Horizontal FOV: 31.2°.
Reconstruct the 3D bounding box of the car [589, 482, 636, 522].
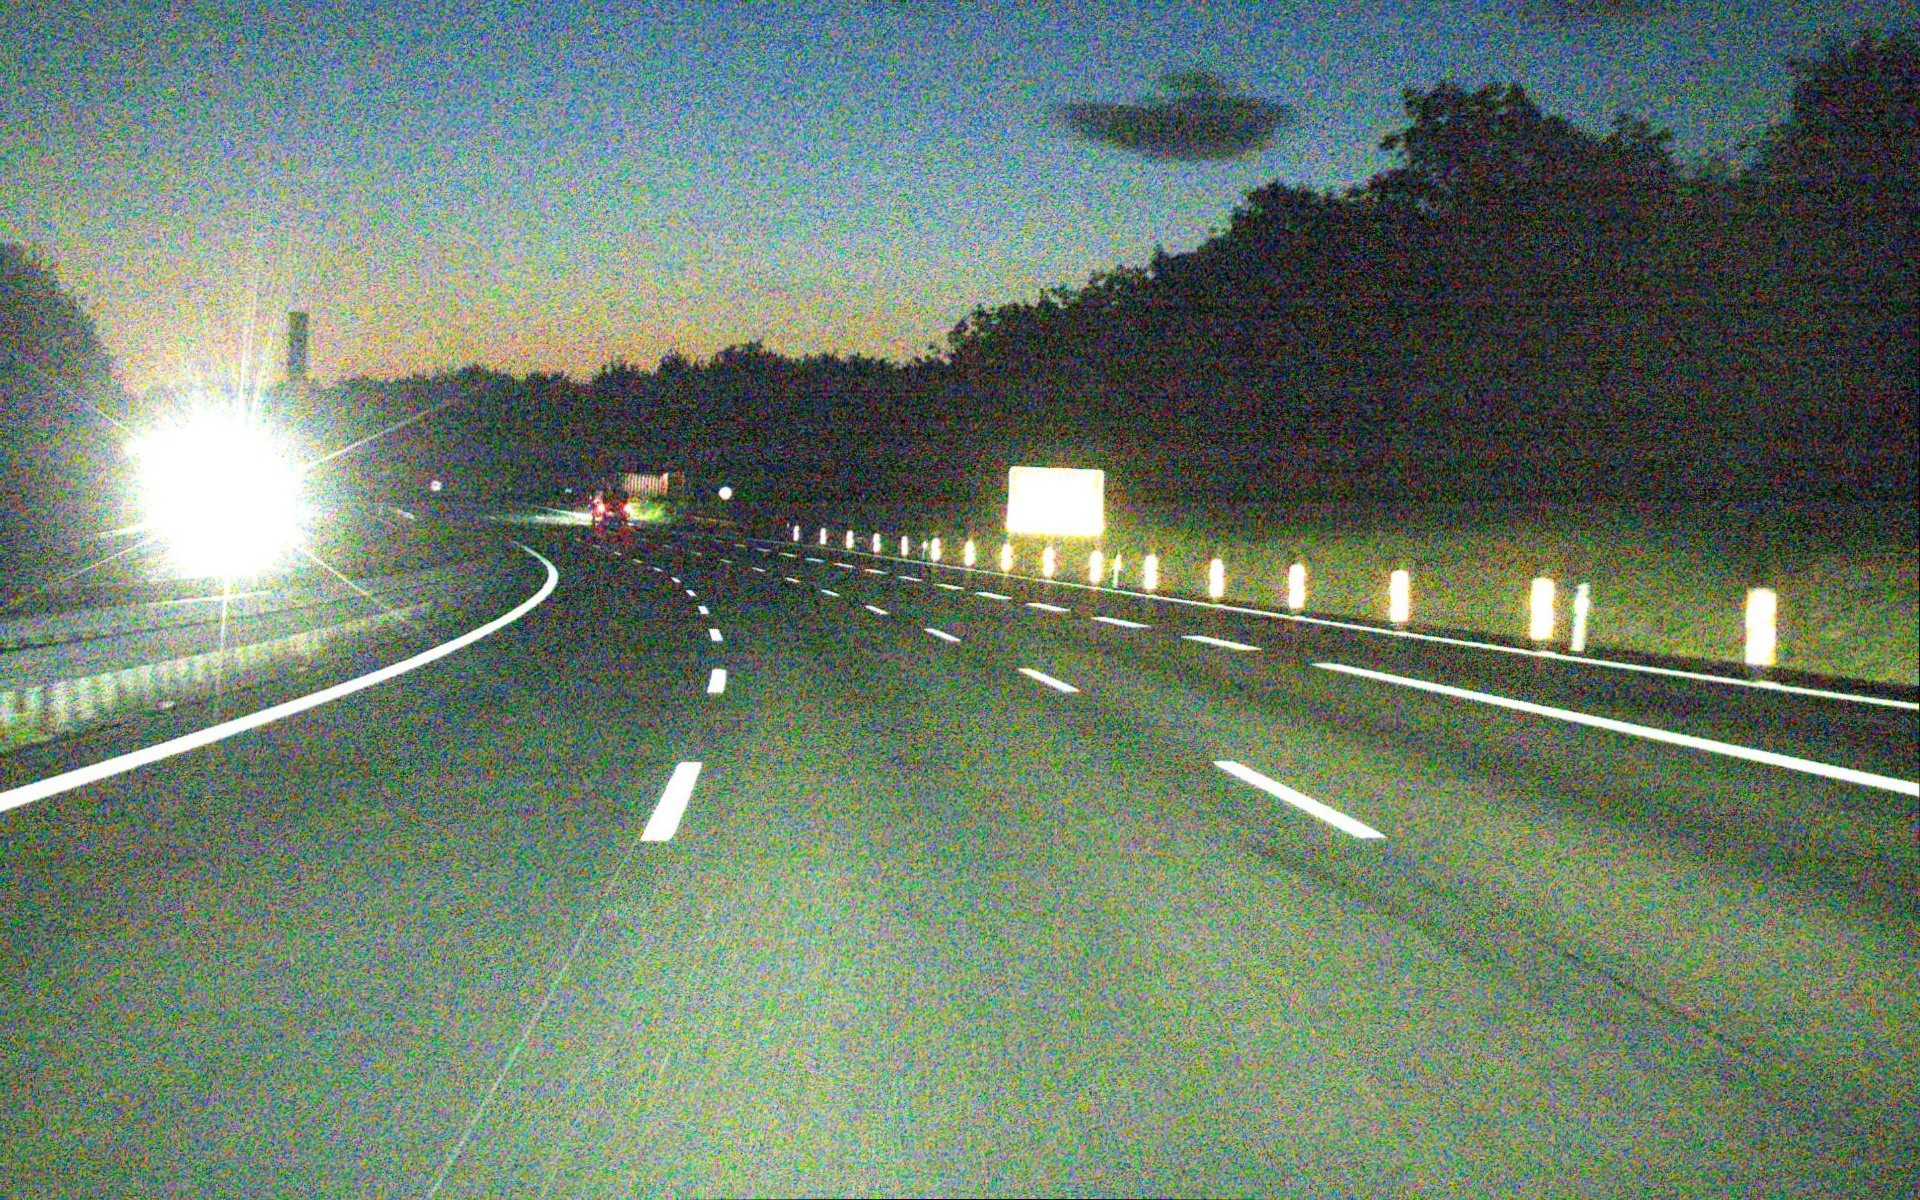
[{"bbox_3d":[-23.936,-6.794,236.642,2.527,2.544,6.053,2,2,-12],"label":"car"}]
